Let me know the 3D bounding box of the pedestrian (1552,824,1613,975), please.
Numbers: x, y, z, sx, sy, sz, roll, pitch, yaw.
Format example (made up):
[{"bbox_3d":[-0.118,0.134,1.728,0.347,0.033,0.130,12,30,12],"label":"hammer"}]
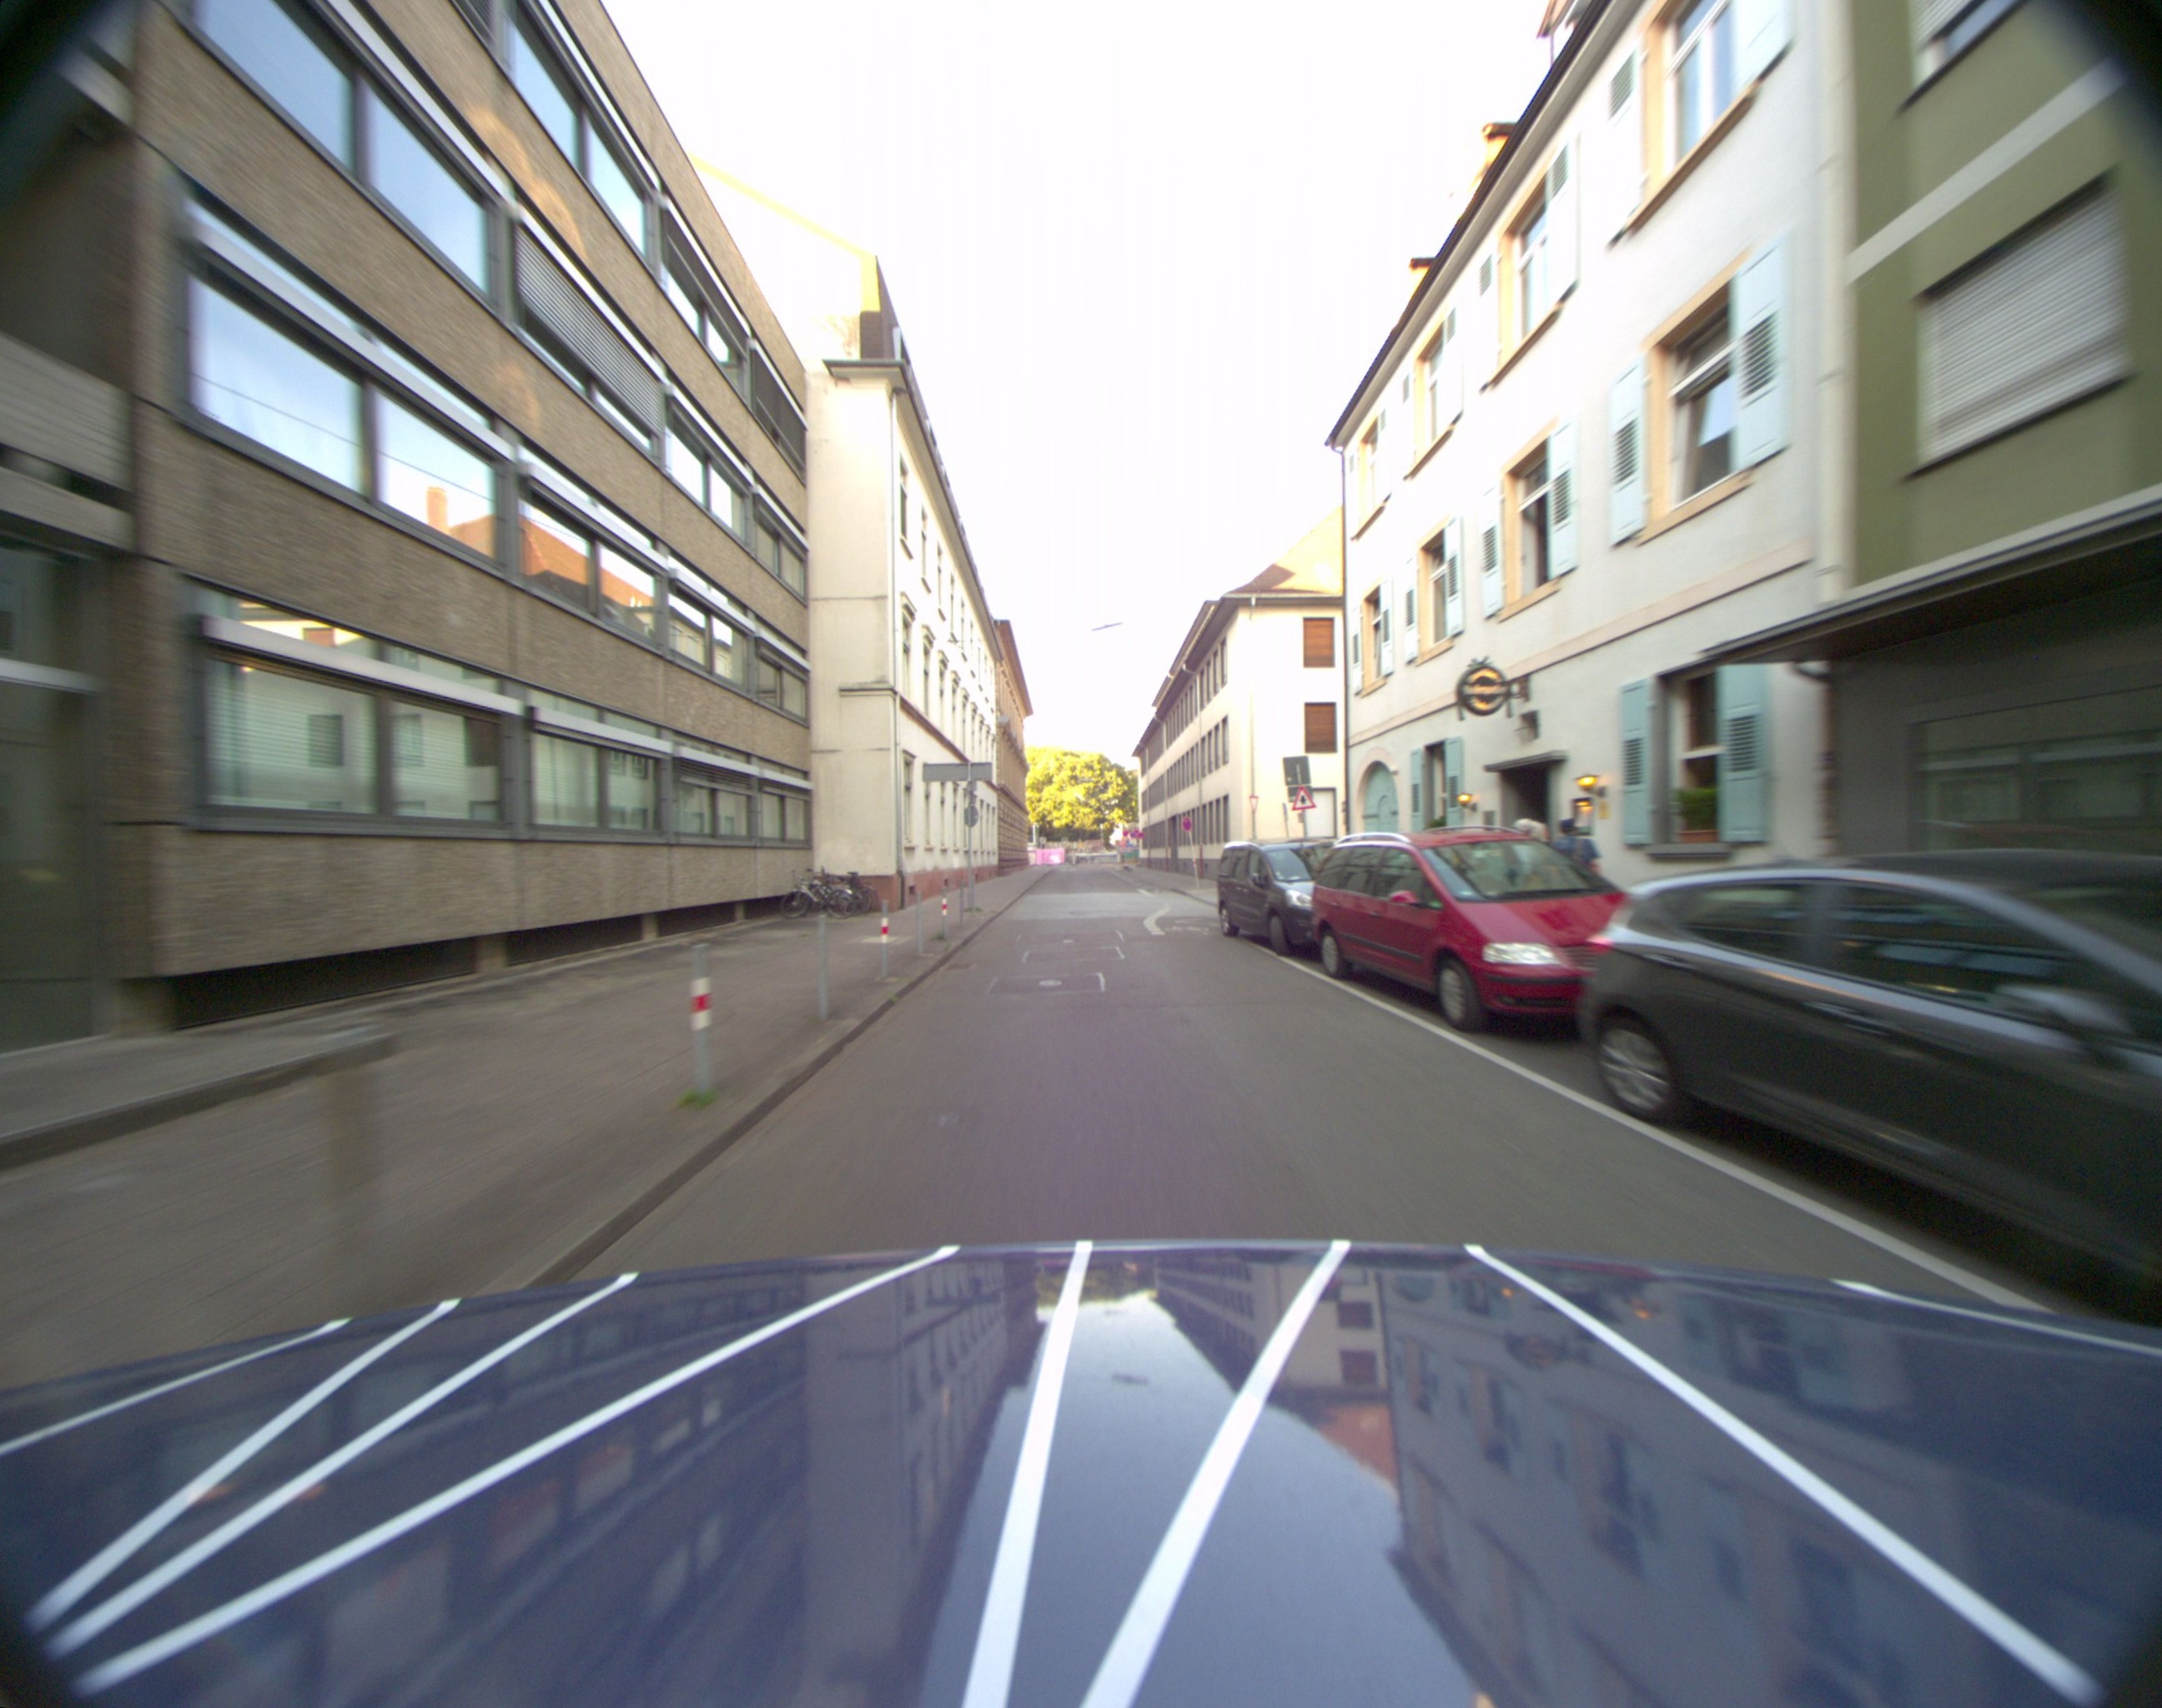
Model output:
[{"bbox_3d":[5.966,0.526,9.054,0.407,1.740,0.470,-1,1,1],"label":"pedestrian"}]

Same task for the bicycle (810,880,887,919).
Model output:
[{"bbox_3d":[-5.920,1.162,19.404,1.800,0.917,0.396,-1,1,-4],"label":"bicycle"}]

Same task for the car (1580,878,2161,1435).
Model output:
[{"bbox_3d":[3.892,0.911,2.735,1.628,1.476,3.877,-1,1,0],"label":"car"}]

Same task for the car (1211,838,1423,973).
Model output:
[{"bbox_3d":[3.626,0.697,12.657,1.882,1.800,4.449,-2,0,-4],"label":"car"}]

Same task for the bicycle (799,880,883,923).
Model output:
[{"bbox_3d":[-5.685,1.119,18.079,1.801,0.917,0.538,-2,1,-8],"label":"bicycle"}]

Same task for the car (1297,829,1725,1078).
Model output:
[{"bbox_3d":[3.859,0.730,7.920,1.777,1.800,4.509,-2,0,-2],"label":"car"}]

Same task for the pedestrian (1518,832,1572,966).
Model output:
[{"bbox_3d":[6.186,0.591,10.141,0.407,1.740,0.470,-1,1,1],"label":"pedestrian"}]

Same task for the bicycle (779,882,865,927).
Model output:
[{"bbox_3d":[-5.859,1.130,17.262,1.745,0.917,0.538,-2,1,-7],"label":"bicycle"}]

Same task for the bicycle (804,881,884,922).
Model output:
[{"bbox_3d":[-5.857,1.166,18.835,1.801,0.917,0.516,-2,1,-8],"label":"bicycle"}]

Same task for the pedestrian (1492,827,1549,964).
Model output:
[{"bbox_3d":[5.700,0.526,9.864,0.450,1.740,0.470,-1,1,1],"label":"pedestrian"}]

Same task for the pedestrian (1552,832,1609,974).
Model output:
[{"bbox_3d":[6.320,0.607,9.628,0.407,1.740,0.470,-1,1,1],"label":"pedestrian"}]
